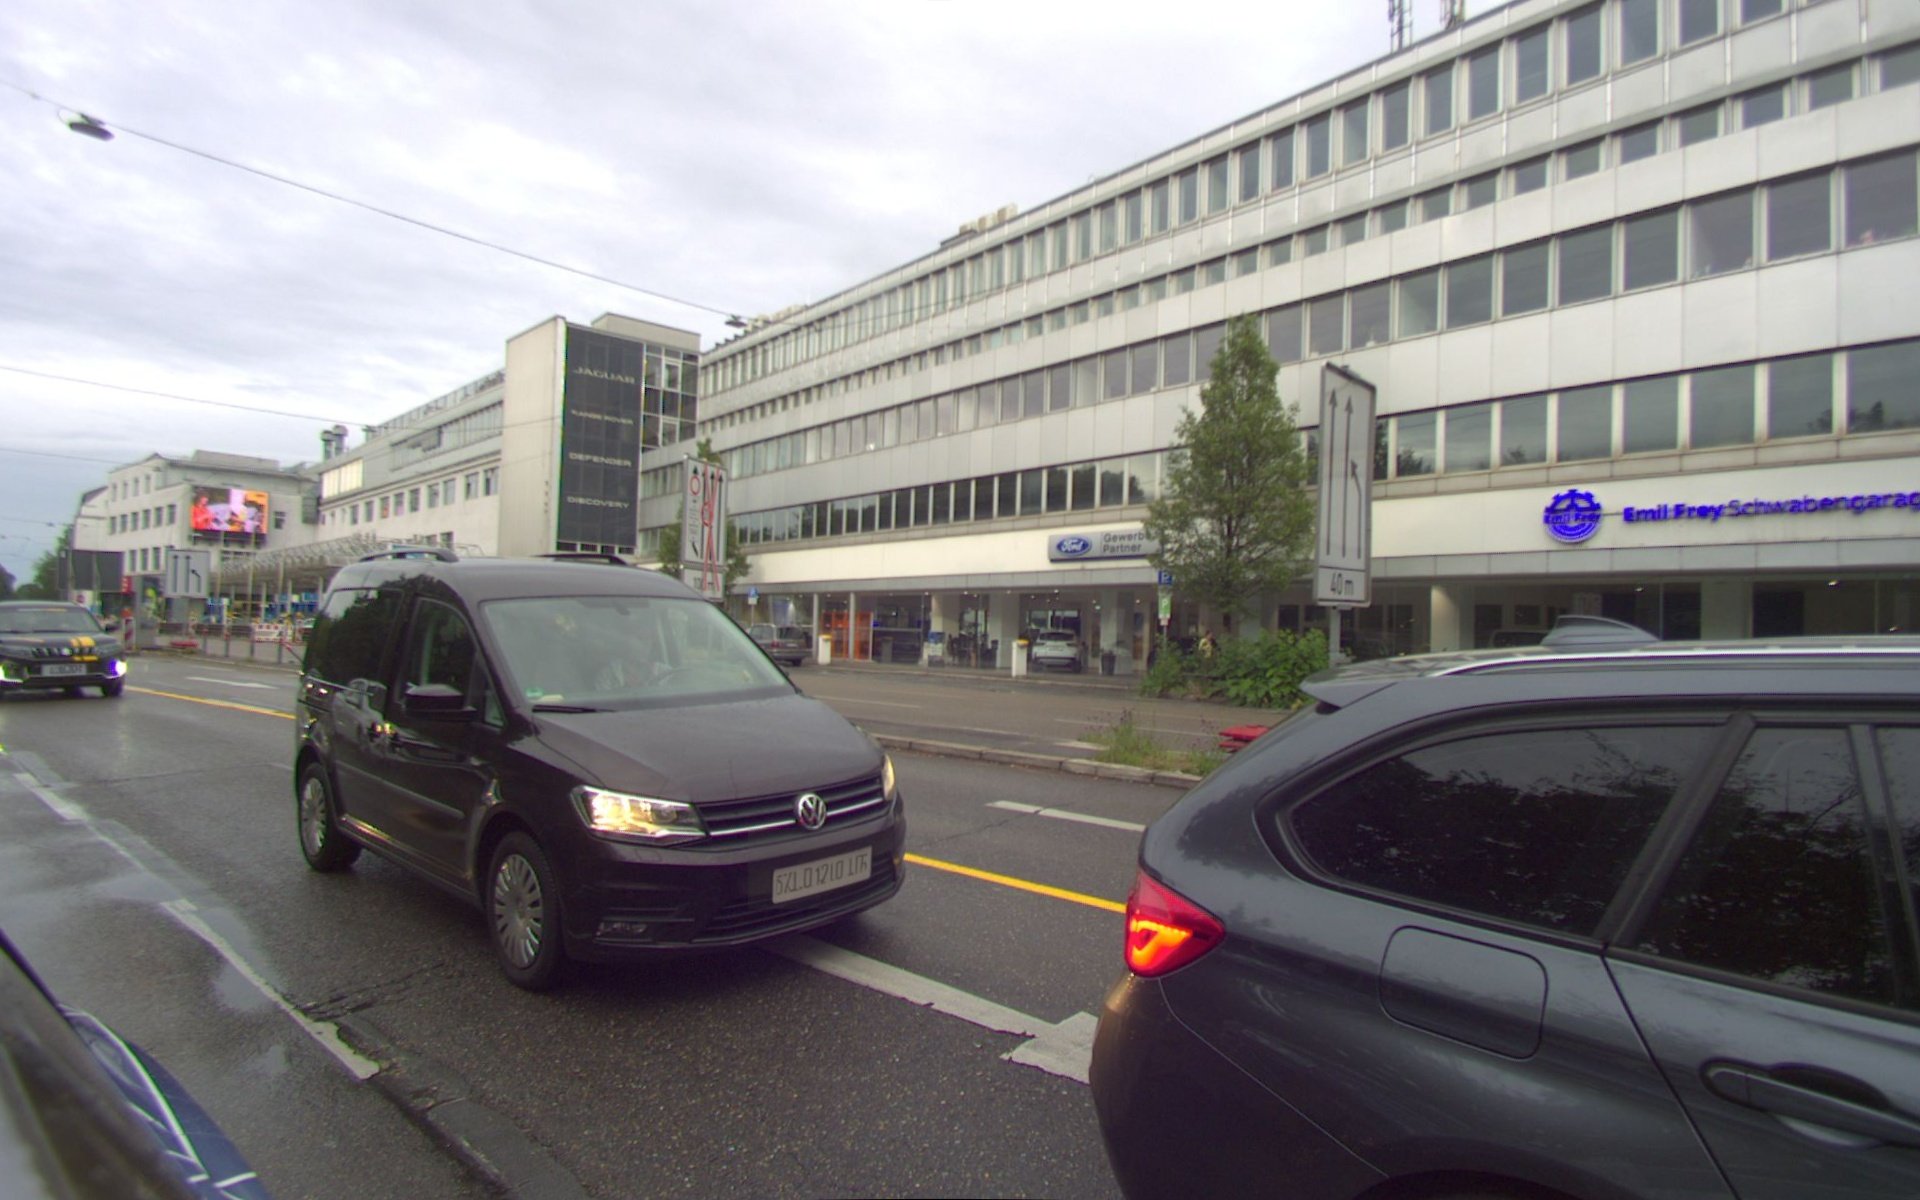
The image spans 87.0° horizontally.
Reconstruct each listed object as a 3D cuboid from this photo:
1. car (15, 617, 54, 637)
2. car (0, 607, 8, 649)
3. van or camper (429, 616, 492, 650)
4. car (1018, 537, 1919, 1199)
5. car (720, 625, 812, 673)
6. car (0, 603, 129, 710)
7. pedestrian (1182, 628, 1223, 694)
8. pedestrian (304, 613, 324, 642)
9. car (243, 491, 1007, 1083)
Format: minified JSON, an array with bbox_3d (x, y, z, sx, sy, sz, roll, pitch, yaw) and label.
[{"bbox_3d":[-75.617,2.224,82.675,3.761,1.544,1.782,-2,-5,40],"label":"car"},{"bbox_3d":[-39.640,1.121,40.658,4.333,1.650,1.747,-1,0,43],"label":"car"},{"bbox_3d":[-29.574,1.949,59.859,1.913,1.938,4.688,3,-3,-44],"label":"van or camper"},{"bbox_3d":[2.353,0.687,1.063,4.476,1.469,1.757,-1,-3,42],"label":"car"},{"bbox_3d":[-8.333,2.049,43.264,1.895,1.829,4.169,-1,0,-44],"label":"car"},{"bbox_3d":[-15.864,0.885,17.253,4.329,1.611,1.792,-1,0,39],"label":"car"},{"bbox_3d":[6.921,1.722,28.870,0.750,1.788,0.865,-1,0,-42],"label":"pedestrian"},{"bbox_3d":[-42.345,1.803,66.347,0.882,1.828,0.942,-1,0,-45],"label":"pedestrian"},{"bbox_3d":[-2.060,0.588,5.321,4.429,1.828,1.880,-1,0,42],"label":"car"}]
